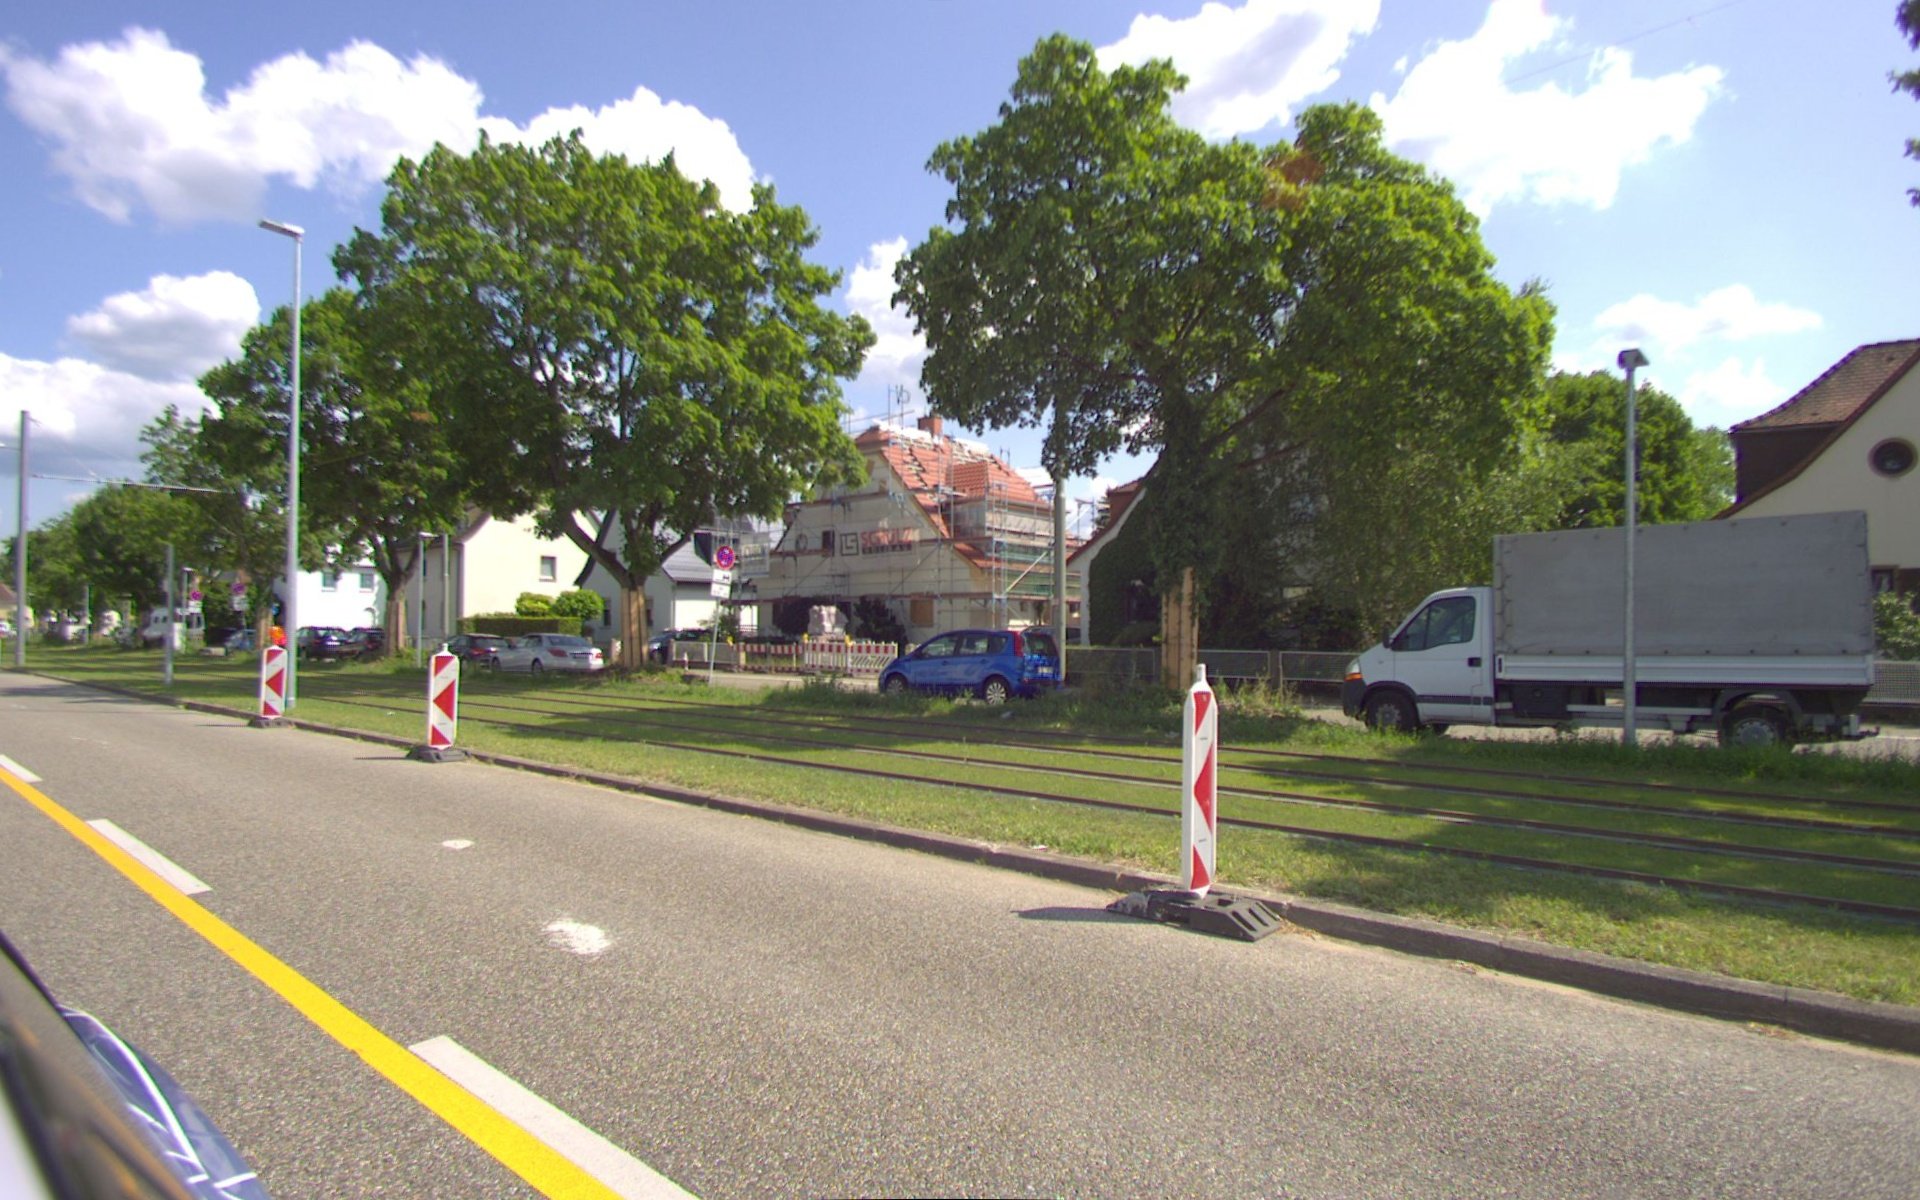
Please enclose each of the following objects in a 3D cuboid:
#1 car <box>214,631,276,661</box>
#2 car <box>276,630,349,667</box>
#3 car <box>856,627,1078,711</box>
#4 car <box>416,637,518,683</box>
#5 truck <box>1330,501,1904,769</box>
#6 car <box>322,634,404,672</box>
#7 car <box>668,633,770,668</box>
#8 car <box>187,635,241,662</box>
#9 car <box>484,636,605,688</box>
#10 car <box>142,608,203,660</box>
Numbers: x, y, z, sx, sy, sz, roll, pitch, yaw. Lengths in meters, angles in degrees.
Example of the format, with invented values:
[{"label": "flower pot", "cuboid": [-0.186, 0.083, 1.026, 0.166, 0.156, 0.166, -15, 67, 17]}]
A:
[{"label": "car", "cuboid": [-37.507, 2.432, 53.042, 4.403, 1.497, 1.680, -3, -3, 41]}, {"label": "car", "cuboid": [-29.507, 2.229, 46.067, 4.403, 1.584, 1.680, -3, -3, 41]}, {"label": "car", "cuboid": [0.050, 1.355, 20.269, 4.403, 1.497, 1.680, -3, -3, 41]}, {"label": "car", "cuboid": [-17.532, 2.123, 35.888, 4.403, 1.497, 1.680, -3, -3, 41]}, {"label": "truck", "cuboid": [8.290, 0.458, 13.400, 5.971, 2.802, 2.242, -2, -3, 41]}, {"label": "car", "cuboid": [-25.192, 2.257, 42.645, 4.403, 1.497, 1.680, -3, -3, 41]}, {"label": "car", "cuboid": [-10.939, 2.298, 46.206, 1.702, 1.497, 4.345, -3, -3, 41]}, {"label": "car", "cuboid": [-44.491, 2.880, 60.321, 4.403, 1.497, 1.680, -3, -3, 41]}, {"label": "car", "cuboid": [-13.136, 1.936, 31.858, 4.520, 1.497, 1.765, -4, -3, 42]}, {"label": "car", "cuboid": [-49.530, 2.166, 63.598, 5.080, 3.061, 2.108, -3, -3, 41]}]
